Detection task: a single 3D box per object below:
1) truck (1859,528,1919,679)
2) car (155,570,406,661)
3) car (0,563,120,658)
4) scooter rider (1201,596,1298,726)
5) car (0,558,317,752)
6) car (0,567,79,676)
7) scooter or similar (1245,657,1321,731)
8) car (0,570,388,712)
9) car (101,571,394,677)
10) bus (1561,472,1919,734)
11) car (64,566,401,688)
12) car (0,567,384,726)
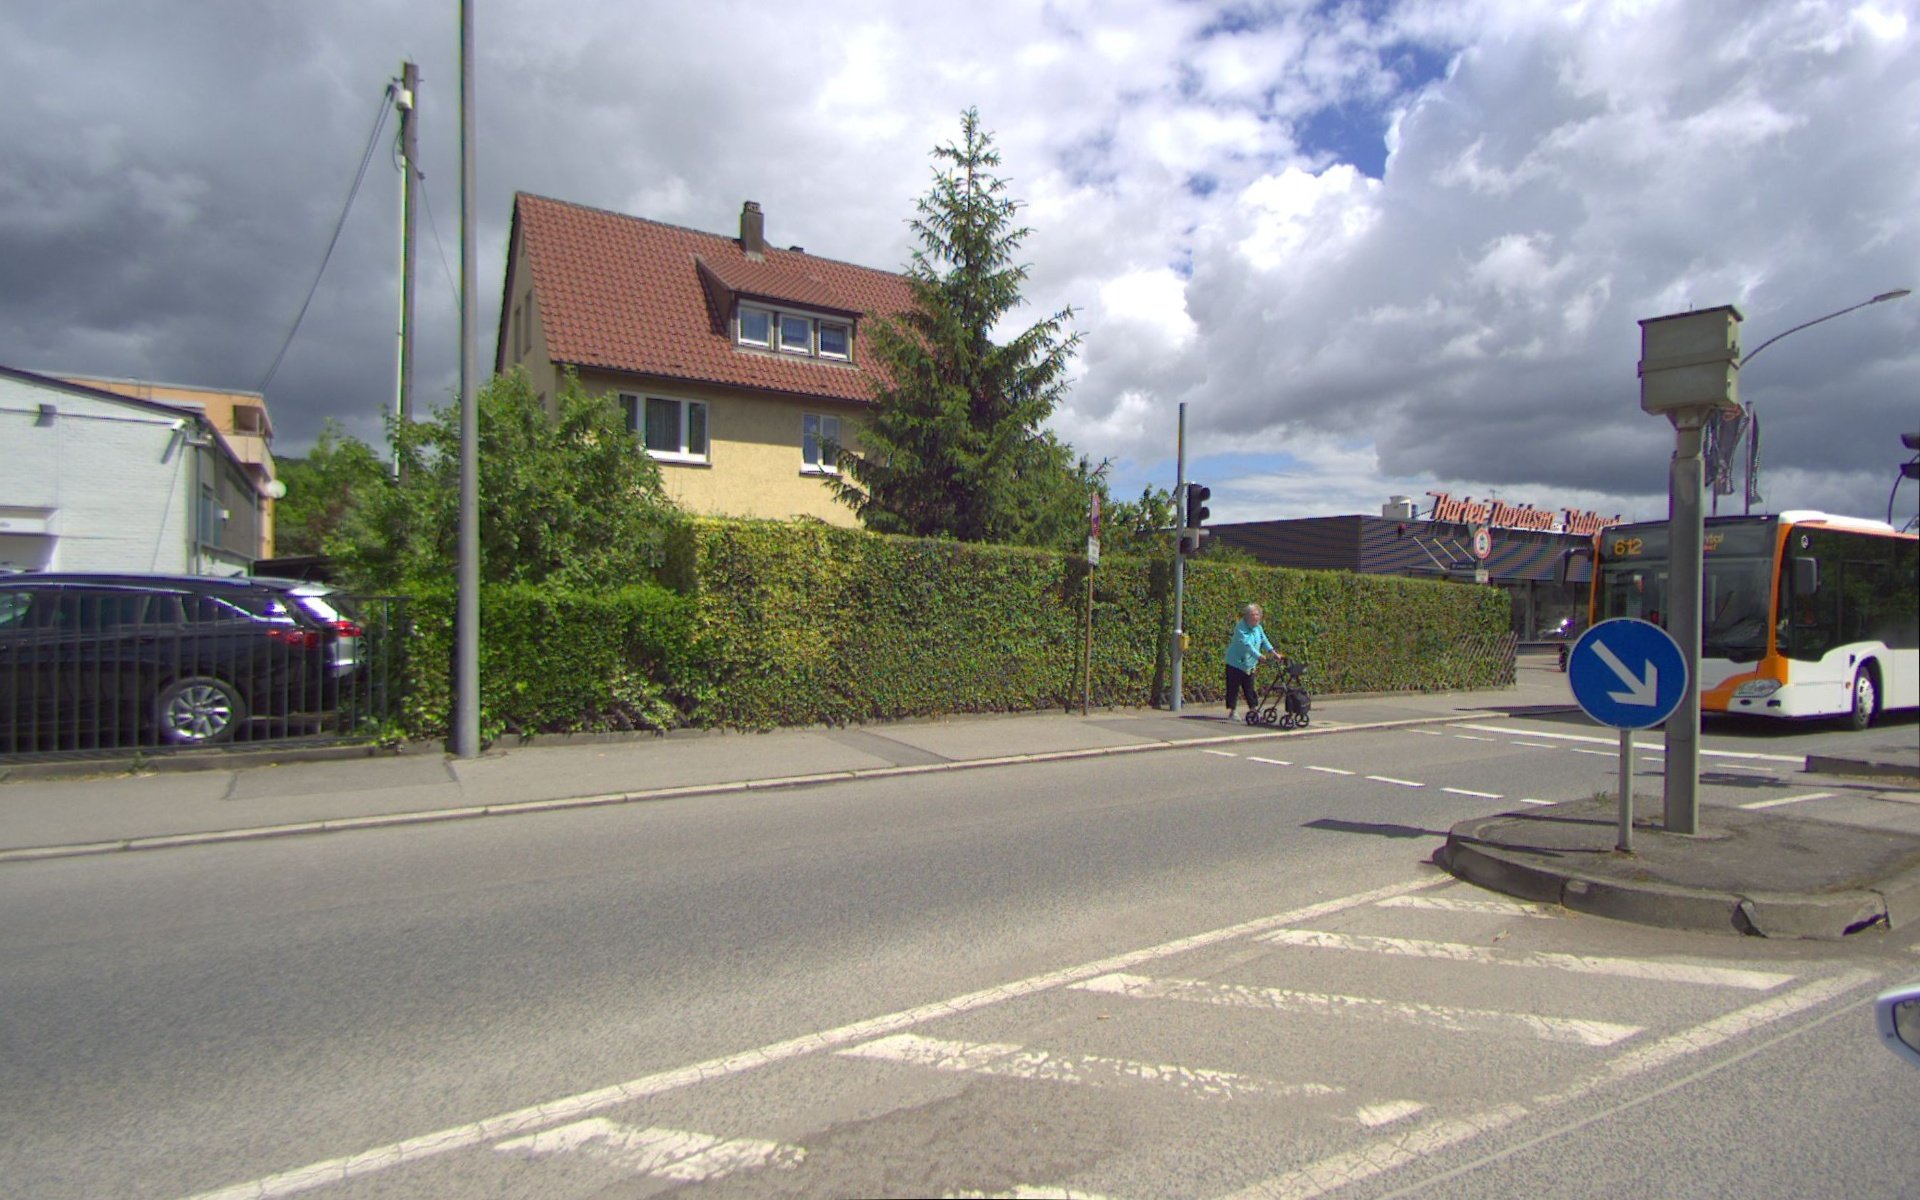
[{"bbox_3d":[30.136,0.197,30.550,9.068,4.186,2.410,2,2,-38],"label":"truck"},{"bbox_3d":[-13.374,0.311,19.942,3.963,1.639,1.763,1,-1,-37],"label":"car"},{"bbox_3d":[-17.439,0.172,17.665,3.963,1.639,1.763,1,-1,-37],"label":"car"},{"bbox_3d":[3.797,0.775,13.193,0.787,1.611,0.873,1,2,-31],"label":"scooter rider"},{"bbox_3d":[-8.165,0.435,8.795,4.224,1.527,2.140,1,-1,-35],"label":"car"},{"bbox_3d":[-15.872,0.297,14.970,3.963,1.639,1.763,1,-1,-37],"label":"car"},{"bbox_3d":[4.086,1.176,12.719,0.652,0.843,0.608,1,2,-31],"label":"scooter or similar"},{"bbox_3d":[-9.981,0.516,13.417,3.959,1.639,1.765,1,-1,-34],"label":"car"},{"bbox_3d":[-12.230,0.413,17.467,3.963,1.639,1.763,1,-1,-37],"label":"car"},{"bbox_3d":[14.901,0.246,16.881,11.979,3.309,2.765,2,-2,-30],"label":"bus"},{"bbox_3d":[-10.926,0.405,15.418,3.959,1.639,1.765,1,-1,-34],"label":"car"},{"bbox_3d":[-8.915,0.462,11.145,4.224,1.527,2.140,1,0,-35],"label":"car"}]
